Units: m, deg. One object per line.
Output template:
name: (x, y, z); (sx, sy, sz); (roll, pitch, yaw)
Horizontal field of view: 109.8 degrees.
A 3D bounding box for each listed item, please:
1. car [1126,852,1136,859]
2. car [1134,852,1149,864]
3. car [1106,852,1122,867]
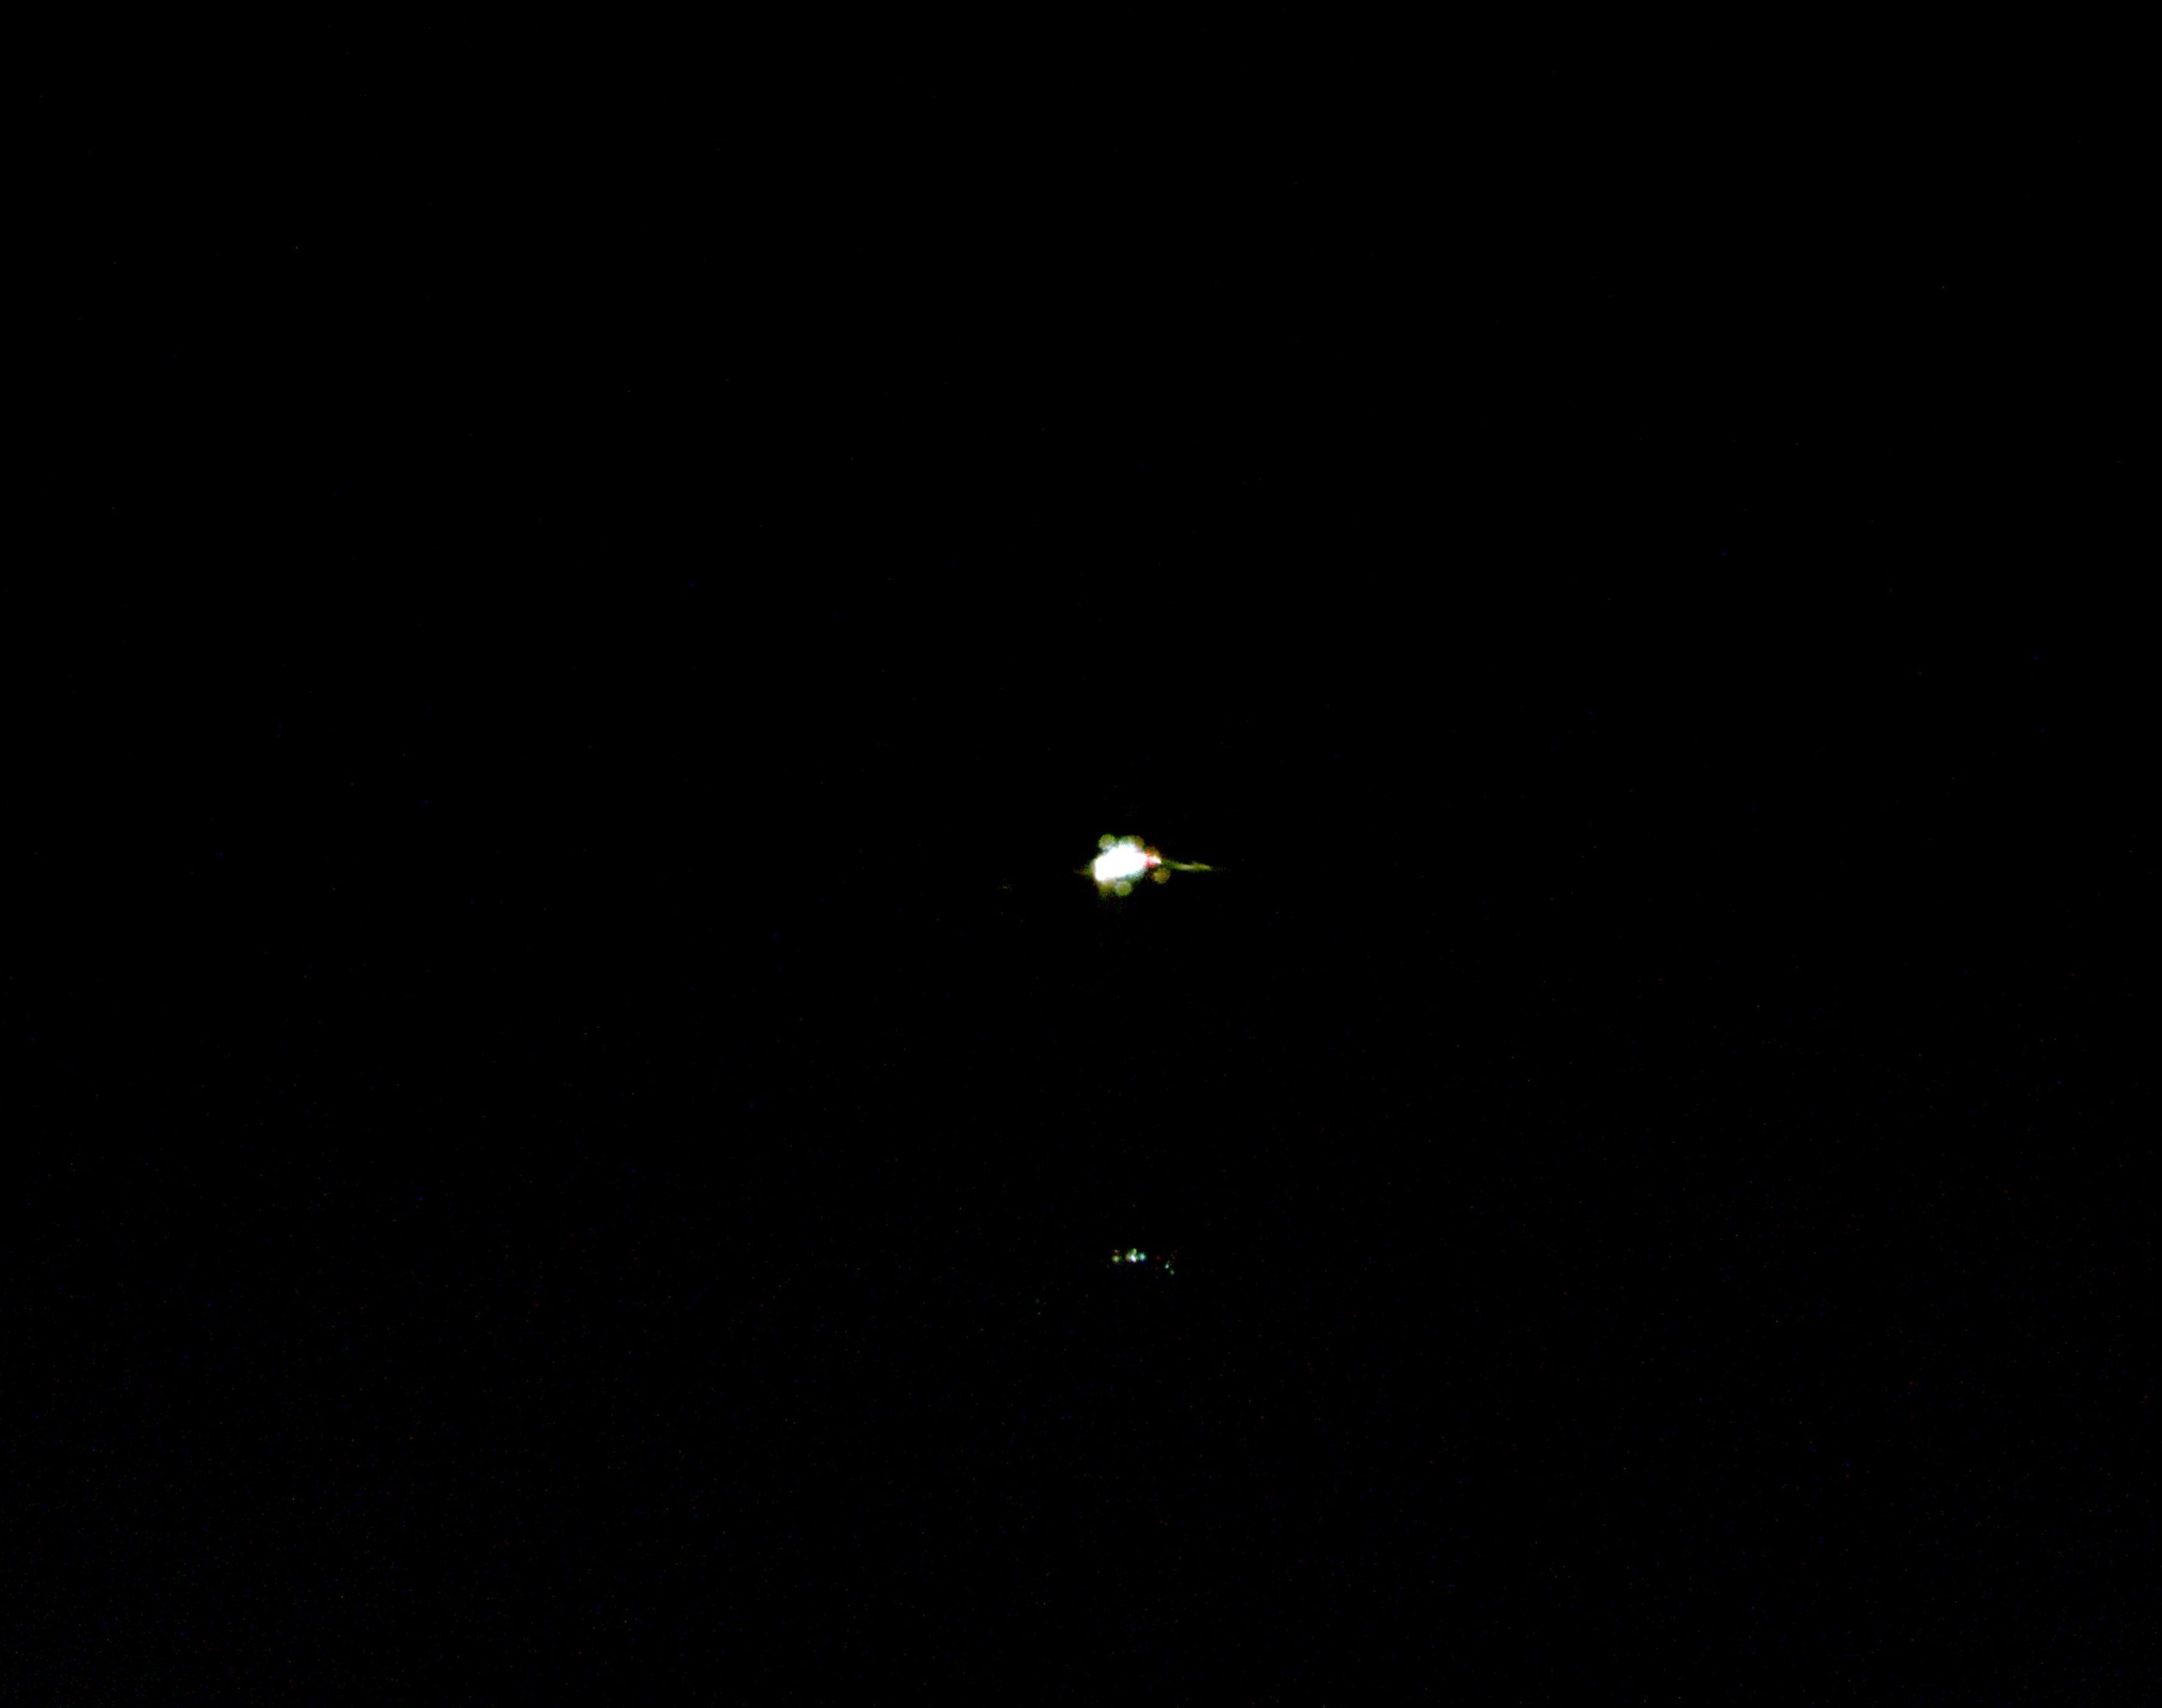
car: (10.837, 0.340, 164.956); (1.747, 1.624, 3.735); (-2, 0, -2)
car: (8.296, 0.520, 104.882); (1.747, 1.624, 3.735); (-2, 0, 0)
car: (3.818, 0.629, 88.692); (1.746, 1.624, 3.736); (-2, 0, 3)
